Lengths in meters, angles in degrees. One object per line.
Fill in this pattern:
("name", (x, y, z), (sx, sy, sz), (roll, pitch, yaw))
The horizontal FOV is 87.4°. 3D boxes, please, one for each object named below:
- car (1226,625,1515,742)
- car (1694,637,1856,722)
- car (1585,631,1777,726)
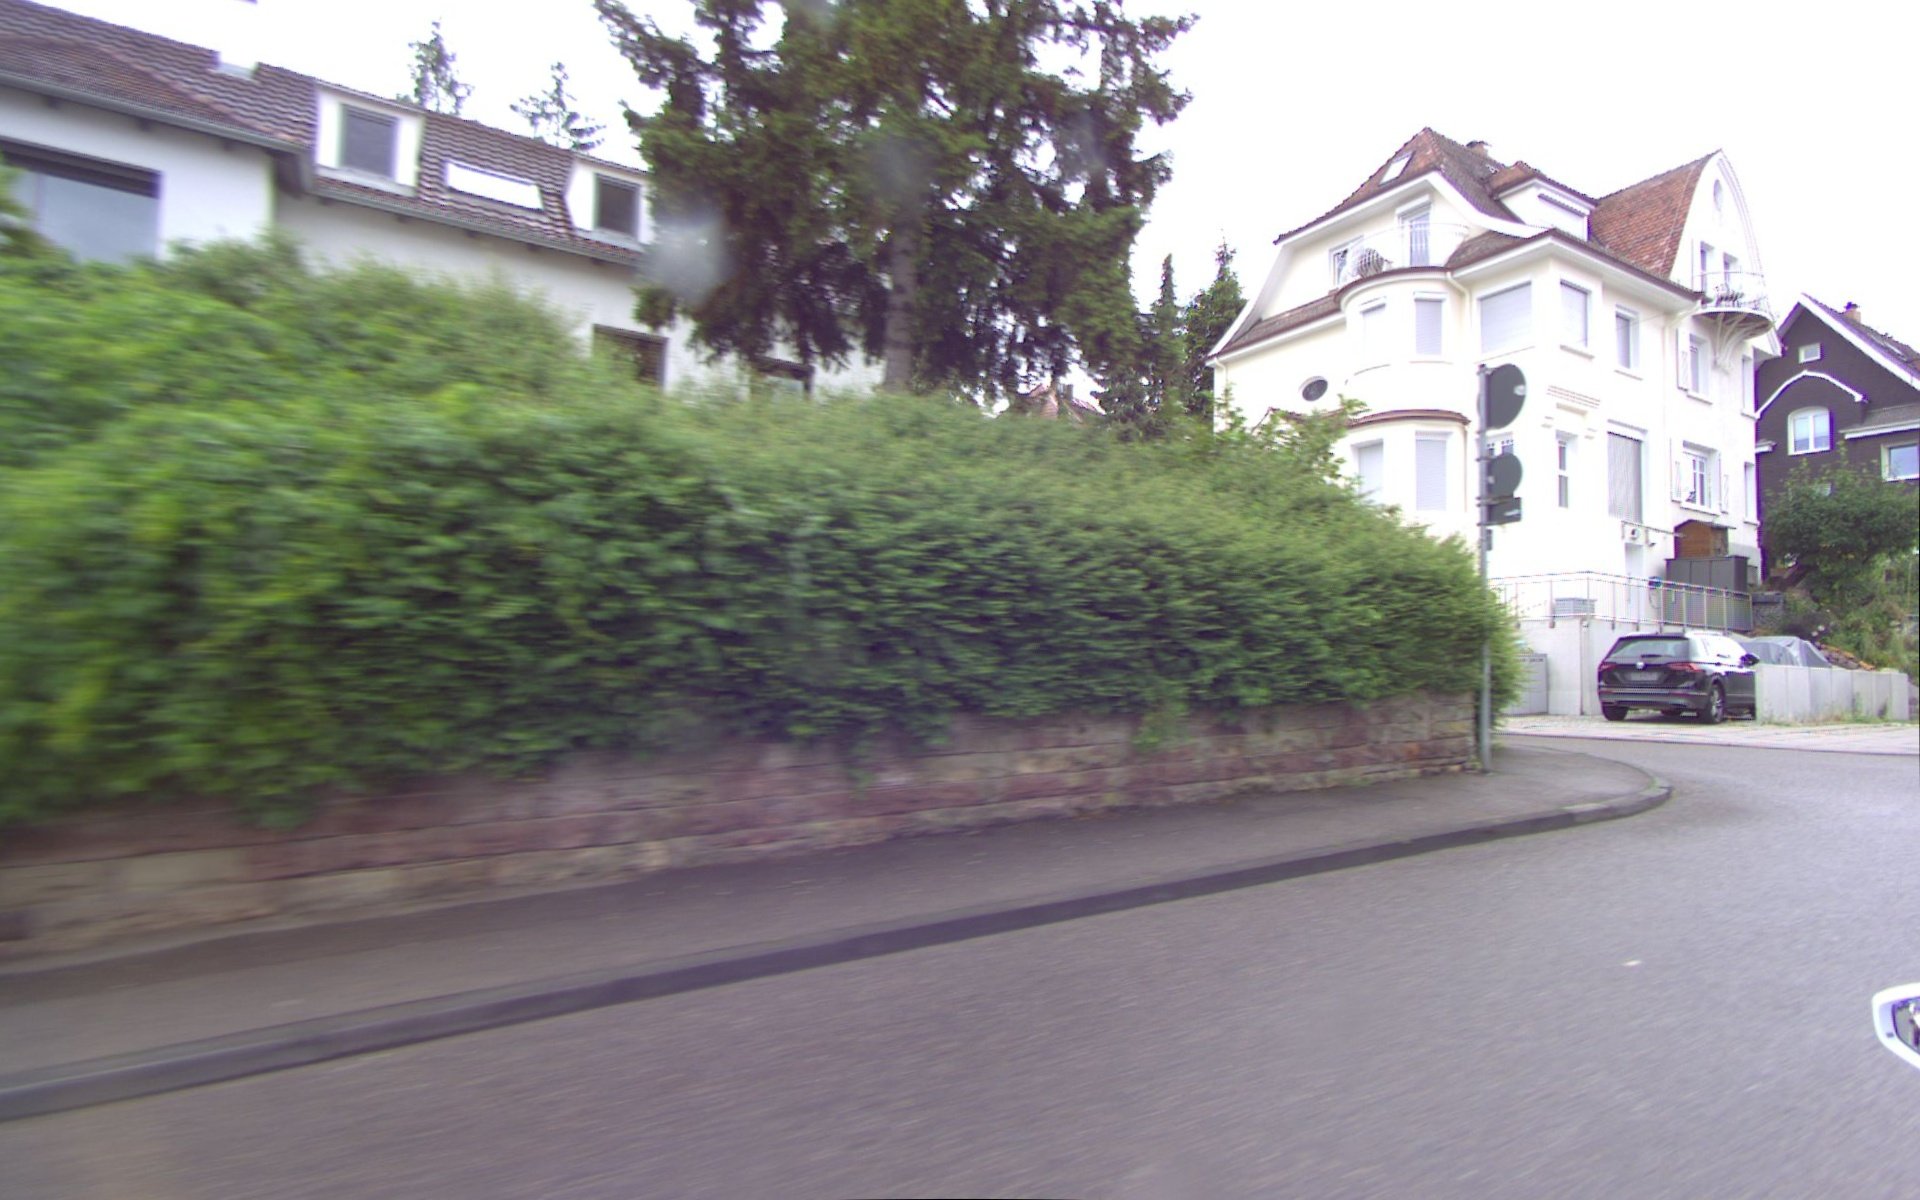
("car", (6.950, 1.333, 17.439), (1.805, 1.577, 4.335), (2, 0, -36))
("car", (18.054, 1.689, 22.219), (3.960, 1.718, 1.754), (2, -3, -35))
("car", (13.805, 1.437, 19.183), (3.960, 1.639, 1.754), (2, -3, -35))
